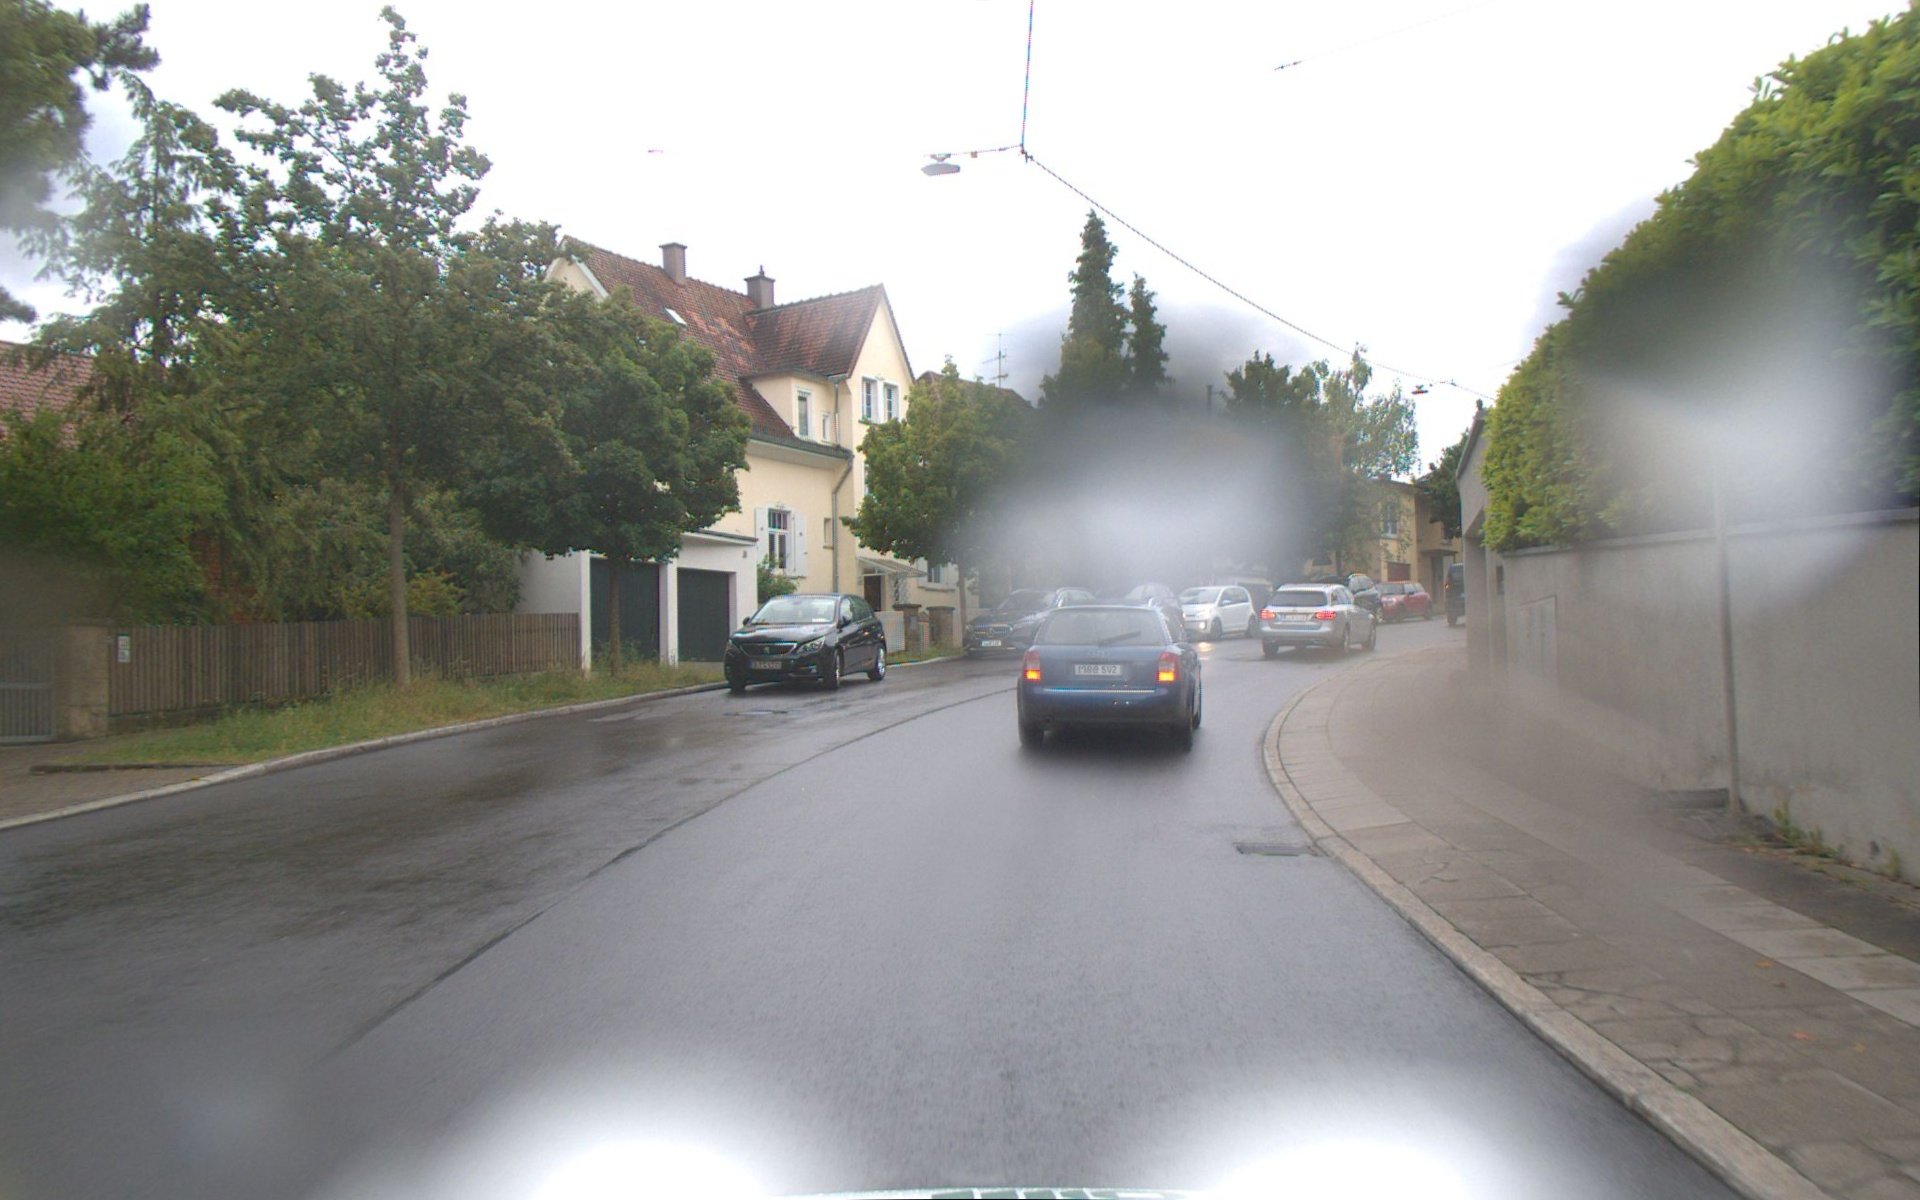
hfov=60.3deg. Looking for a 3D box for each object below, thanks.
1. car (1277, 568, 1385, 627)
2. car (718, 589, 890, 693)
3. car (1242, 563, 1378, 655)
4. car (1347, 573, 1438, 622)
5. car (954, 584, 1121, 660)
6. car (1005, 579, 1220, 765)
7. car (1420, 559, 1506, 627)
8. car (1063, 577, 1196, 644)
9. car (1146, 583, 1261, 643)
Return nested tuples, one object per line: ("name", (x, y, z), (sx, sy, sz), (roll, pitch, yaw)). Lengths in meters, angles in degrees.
("car", (11.963, -0.090, 53.112), (1.770, 1.698, 4.411), (-4, -1, 35))
("car", (-2.410, 0.597, 26.519), (1.634, 1.491, 3.898), (-2, 0, 11))
("car", (7.603, 0.159, 35.618), (1.936, 1.663, 4.234), (-2, 3, 25))
("car", (15.034, -0.108, 57.420), (1.654, 1.497, 3.849), (-4, -1, 37))
("car", (1.836, 0.451, 37.337), (1.831, 1.572, 4.898), (-2, 0, 28))
("car", (1.695, 0.648, 17.132), (1.696, 1.491, 4.005), (-2, 2, 12))
("car", (15.590, -0.251, 51.132), (1.700, 1.799, 4.230), (-2, 3, 28))
("car", (4.318, 0.230, 41.680), (1.701, 1.572, 4.201), (-2, 0, 31))
("car", (6.768, 0.339, 45.677), (1.701, 1.492, 3.992), (-2, 1, 31))
